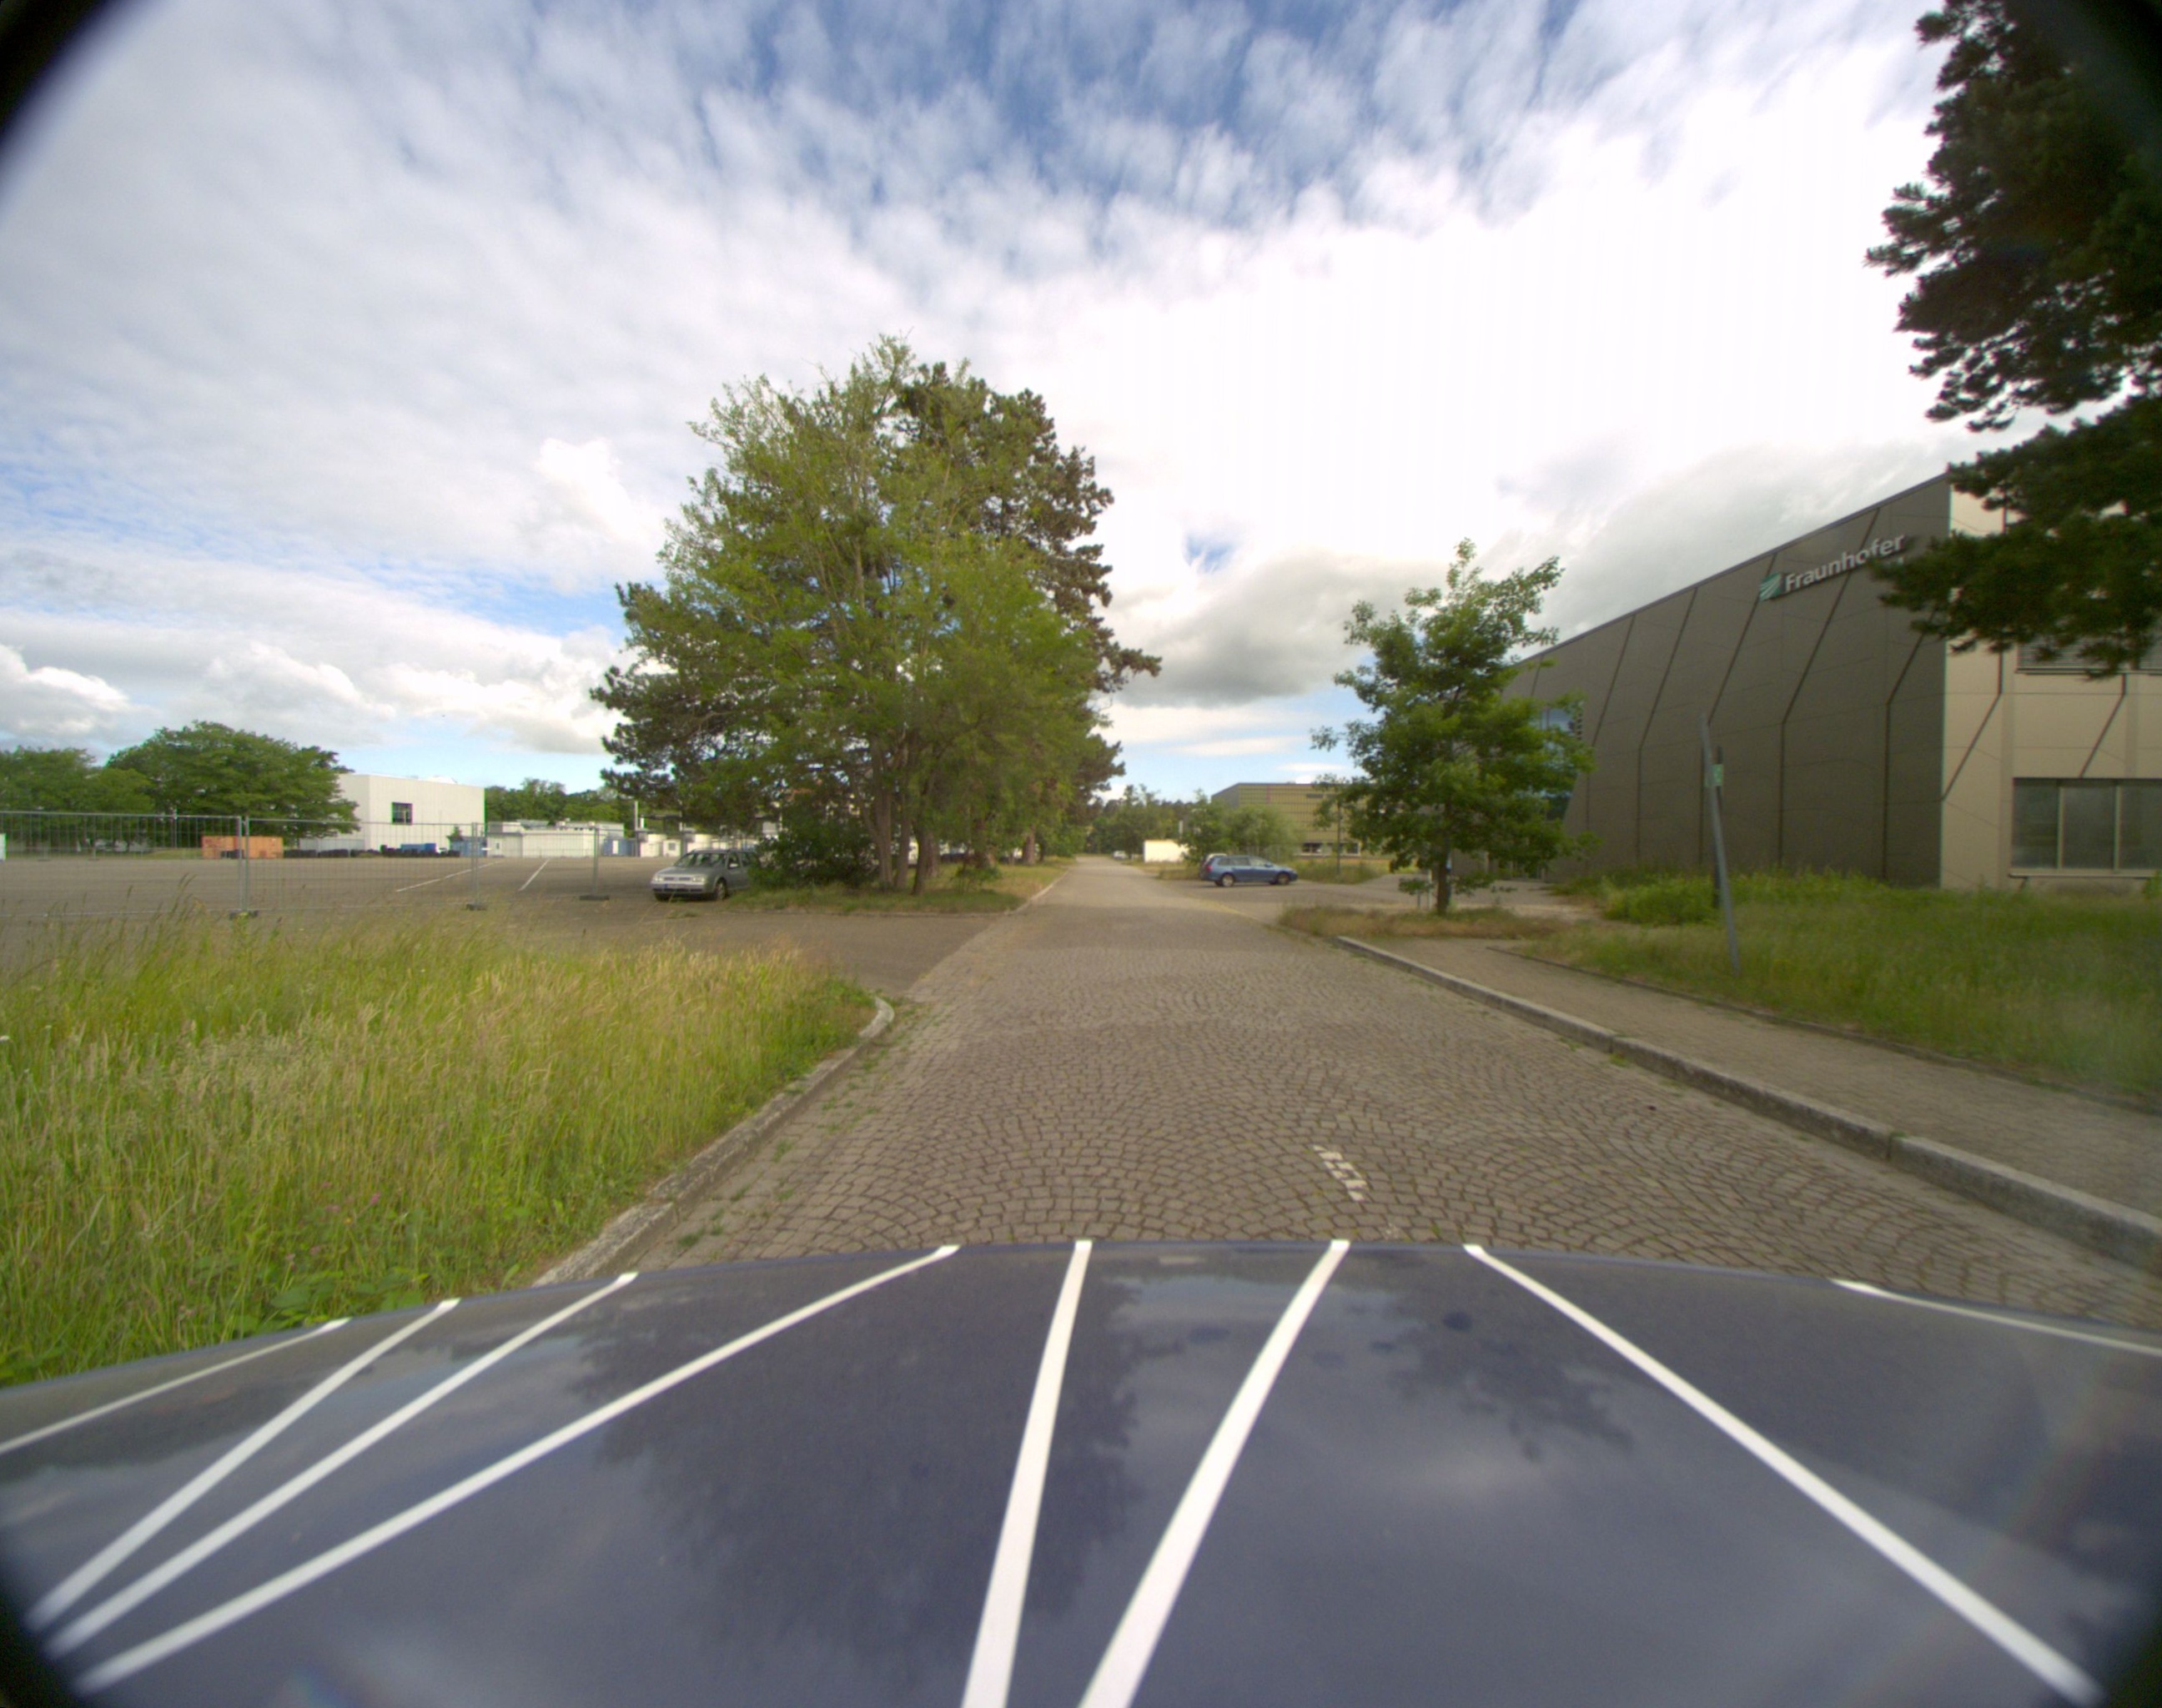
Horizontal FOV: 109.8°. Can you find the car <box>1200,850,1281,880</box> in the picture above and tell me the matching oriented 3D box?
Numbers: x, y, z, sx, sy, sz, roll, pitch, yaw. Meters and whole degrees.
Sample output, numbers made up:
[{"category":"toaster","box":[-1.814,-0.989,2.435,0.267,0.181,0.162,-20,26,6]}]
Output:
[{"category":"car","box":[9.128,0.608,43.810,4.400,1.537,1.842,-2,0,7]}]

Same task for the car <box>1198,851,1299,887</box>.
[{"category":"car","box":[7.987,0.695,36.422,4.404,1.501,1.716,-2,1,-2]}]

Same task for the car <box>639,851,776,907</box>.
[{"category":"car","box":[-10.693,0.643,22.138,1.759,1.440,4.327,1,1,2]}]
